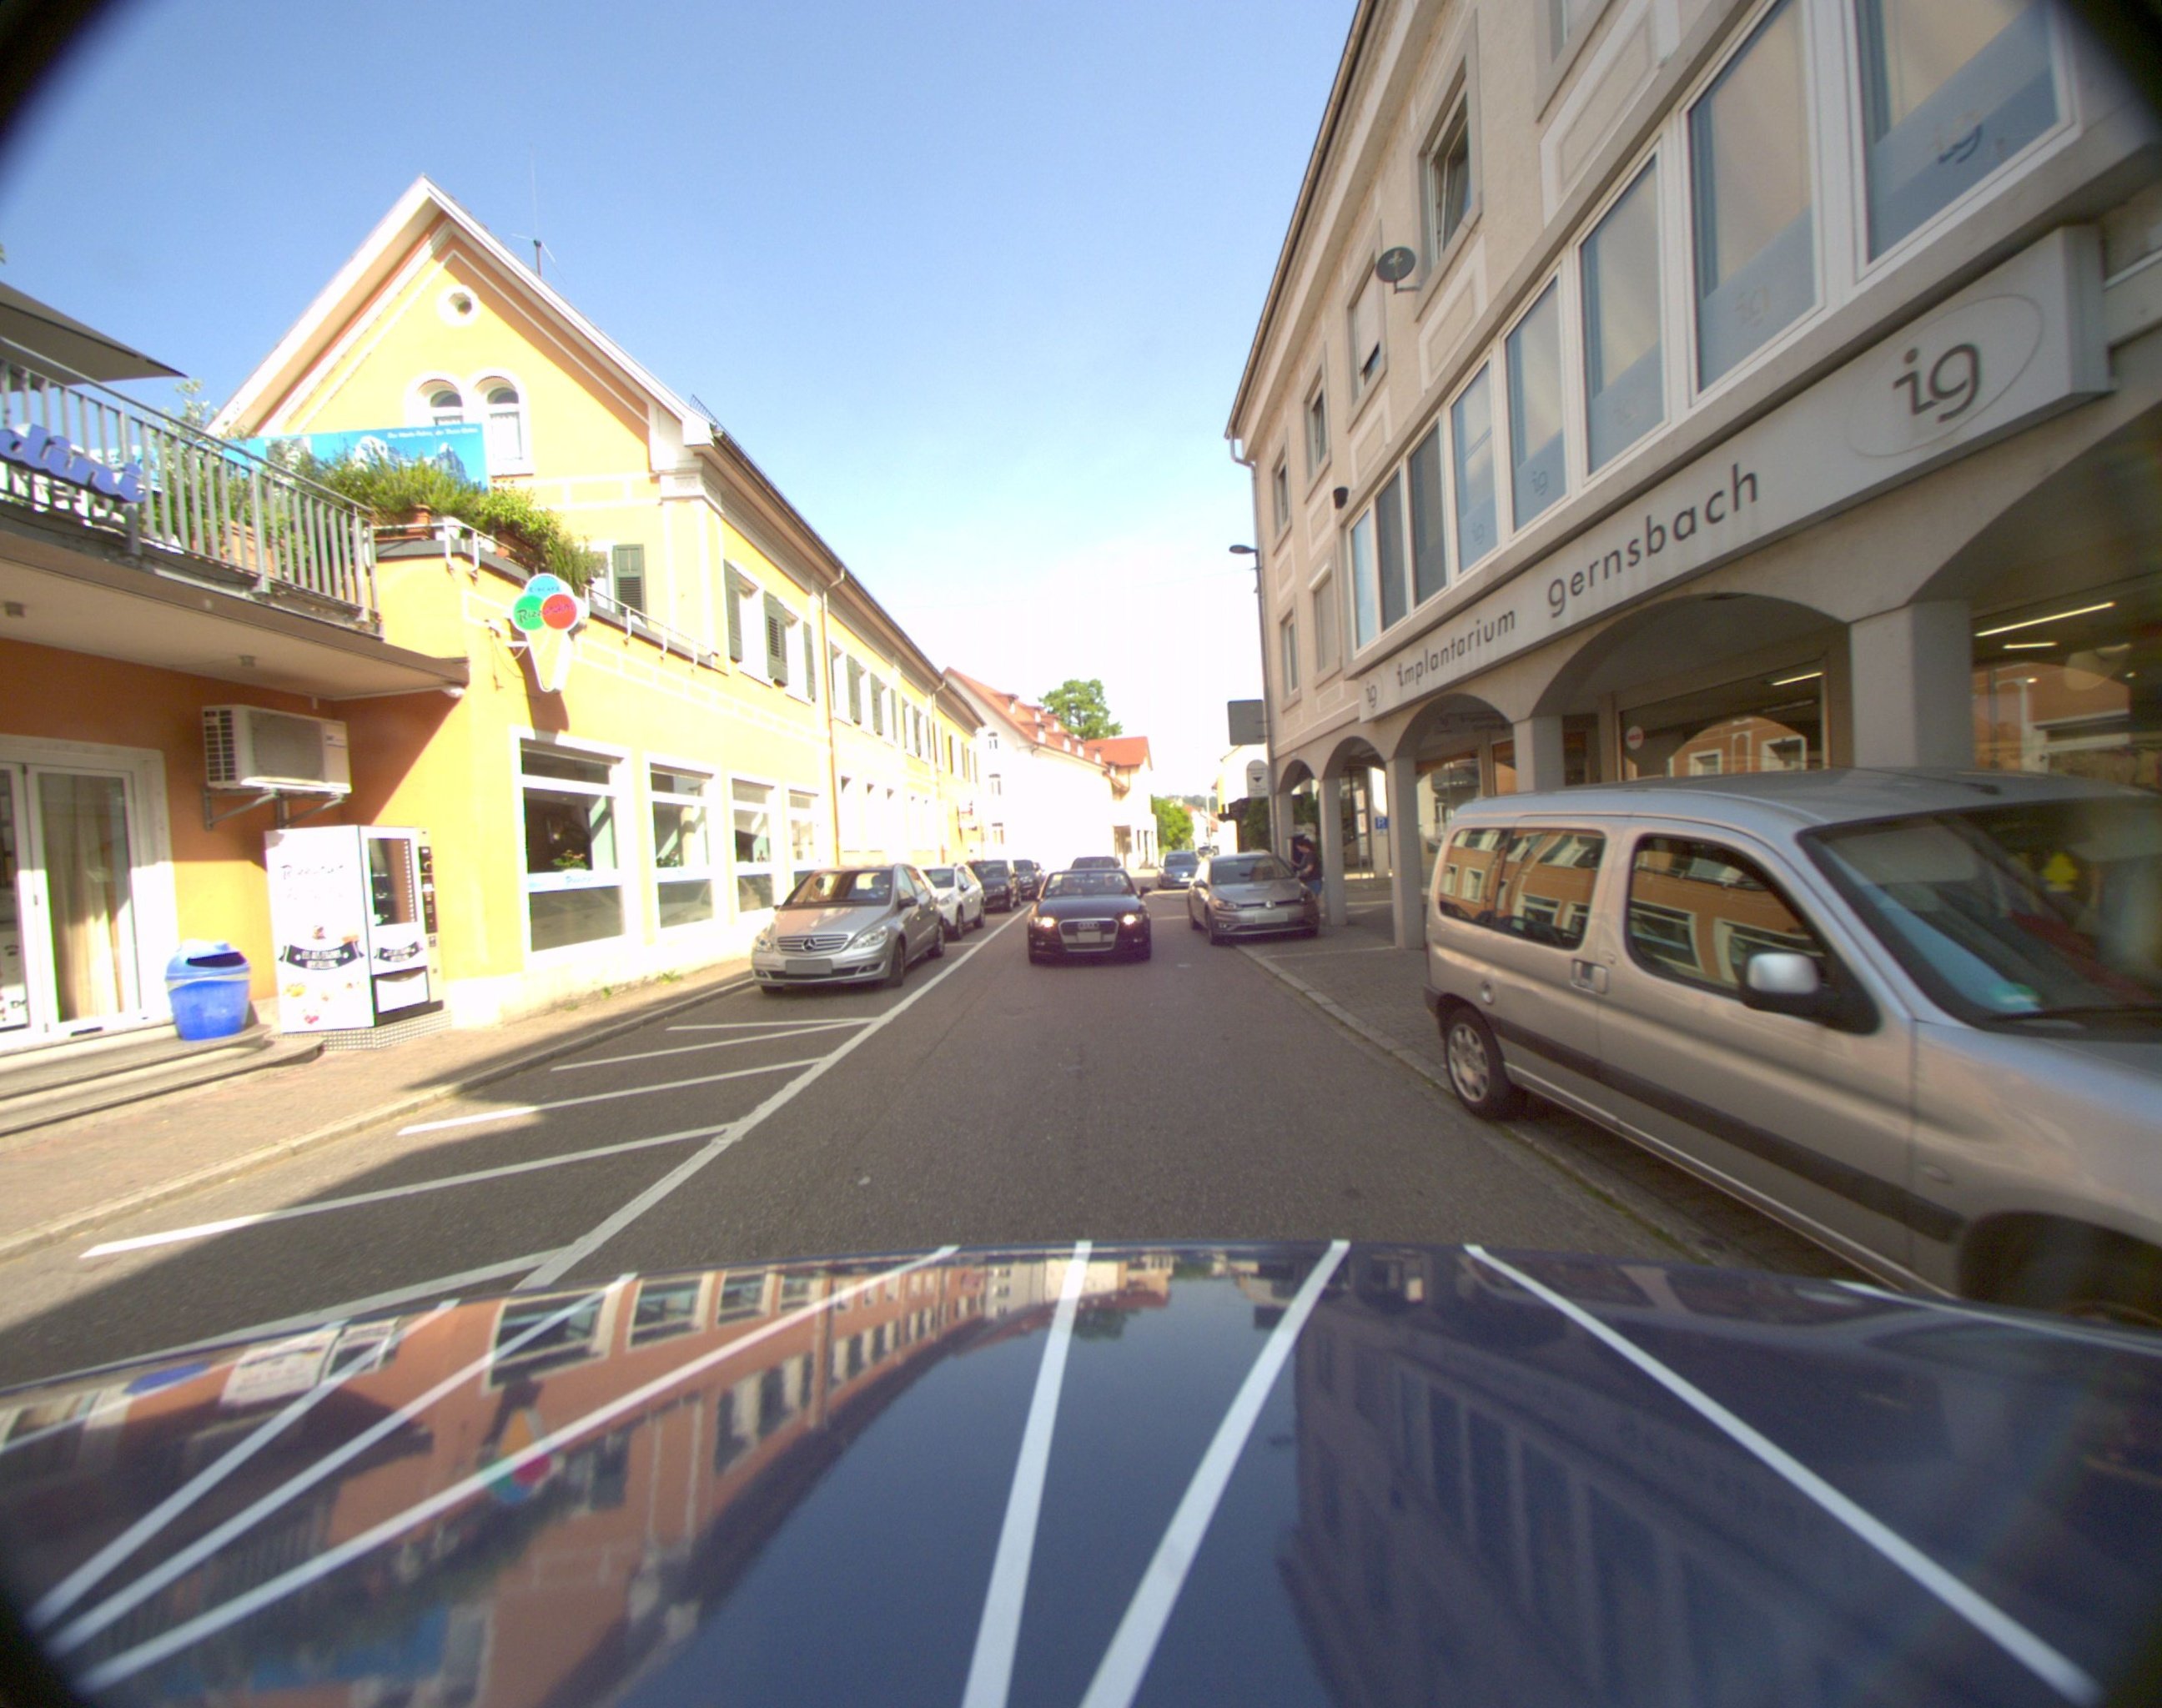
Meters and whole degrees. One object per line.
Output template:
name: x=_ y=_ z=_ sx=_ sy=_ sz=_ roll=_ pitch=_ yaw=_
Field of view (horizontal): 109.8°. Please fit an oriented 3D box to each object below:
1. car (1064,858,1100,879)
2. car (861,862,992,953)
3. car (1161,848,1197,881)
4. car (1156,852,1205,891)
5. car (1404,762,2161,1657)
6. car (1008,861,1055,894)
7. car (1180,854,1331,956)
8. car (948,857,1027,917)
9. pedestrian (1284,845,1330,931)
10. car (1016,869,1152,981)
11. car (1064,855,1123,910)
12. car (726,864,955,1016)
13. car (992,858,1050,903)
car: x=0.133 y=0.933 z=50.429 sx=1.526 sy=1.237 sz=4.038 roll=-2 pitch=0 yaw=12
car: x=-3.113 y=1.026 z=16.177 sx=1.682 sy=1.549 sz=4.104 roll=-3 pitch=0 yaw=3
car: x=5.441 y=0.540 z=41.777 sx=1.681 sy=1.658 sz=3.974 roll=-2 pitch=0 yaw=11
car: x=4.253 y=0.712 z=32.970 sx=1.769 sy=1.551 sz=3.972 roll=-2 pitch=0 yaw=4
car: x=2.883 y=0.626 z=2.576 sx=1.711 sy=1.729 sz=4.145 roll=-5 pitch=0 yaw=0
car: x=-2.252 y=1.055 z=35.120 sx=1.682 sy=1.311 sz=3.696 roll=-3 pitch=0 yaw=3
car: x=2.964 y=0.781 z=13.861 sx=1.807 sy=1.461 sz=4.455 roll=-3 pitch=0 yaw=2
car: x=-2.795 y=0.944 z=23.646 sx=1.682 sy=1.636 sz=4.251 roll=-2 pitch=0 yaw=3
pedestrian: x=4.206 y=0.625 z=14.195 sx=0.622 sy=1.542 sz=0.534 roll=-3 pitch=1 yaw=0
car: x=0.136 y=0.981 z=12.122 sx=1.755 sy=1.348 sz=4.200 roll=-2 pitch=0 yaw=3
car: x=0.463 y=0.843 z=24.361 sx=1.682 sy=1.551 sz=3.971 roll=-2 pitch=0 yaw=3
car: x=-3.131 y=1.013 z=10.986 sx=1.749 sy=1.587 sz=4.594 roll=-3 pitch=0 yaw=0
car: x=-2.267 y=0.963 z=29.550 sx=1.682 sy=1.531 sz=4.187 roll=-2 pitch=0 yaw=3
